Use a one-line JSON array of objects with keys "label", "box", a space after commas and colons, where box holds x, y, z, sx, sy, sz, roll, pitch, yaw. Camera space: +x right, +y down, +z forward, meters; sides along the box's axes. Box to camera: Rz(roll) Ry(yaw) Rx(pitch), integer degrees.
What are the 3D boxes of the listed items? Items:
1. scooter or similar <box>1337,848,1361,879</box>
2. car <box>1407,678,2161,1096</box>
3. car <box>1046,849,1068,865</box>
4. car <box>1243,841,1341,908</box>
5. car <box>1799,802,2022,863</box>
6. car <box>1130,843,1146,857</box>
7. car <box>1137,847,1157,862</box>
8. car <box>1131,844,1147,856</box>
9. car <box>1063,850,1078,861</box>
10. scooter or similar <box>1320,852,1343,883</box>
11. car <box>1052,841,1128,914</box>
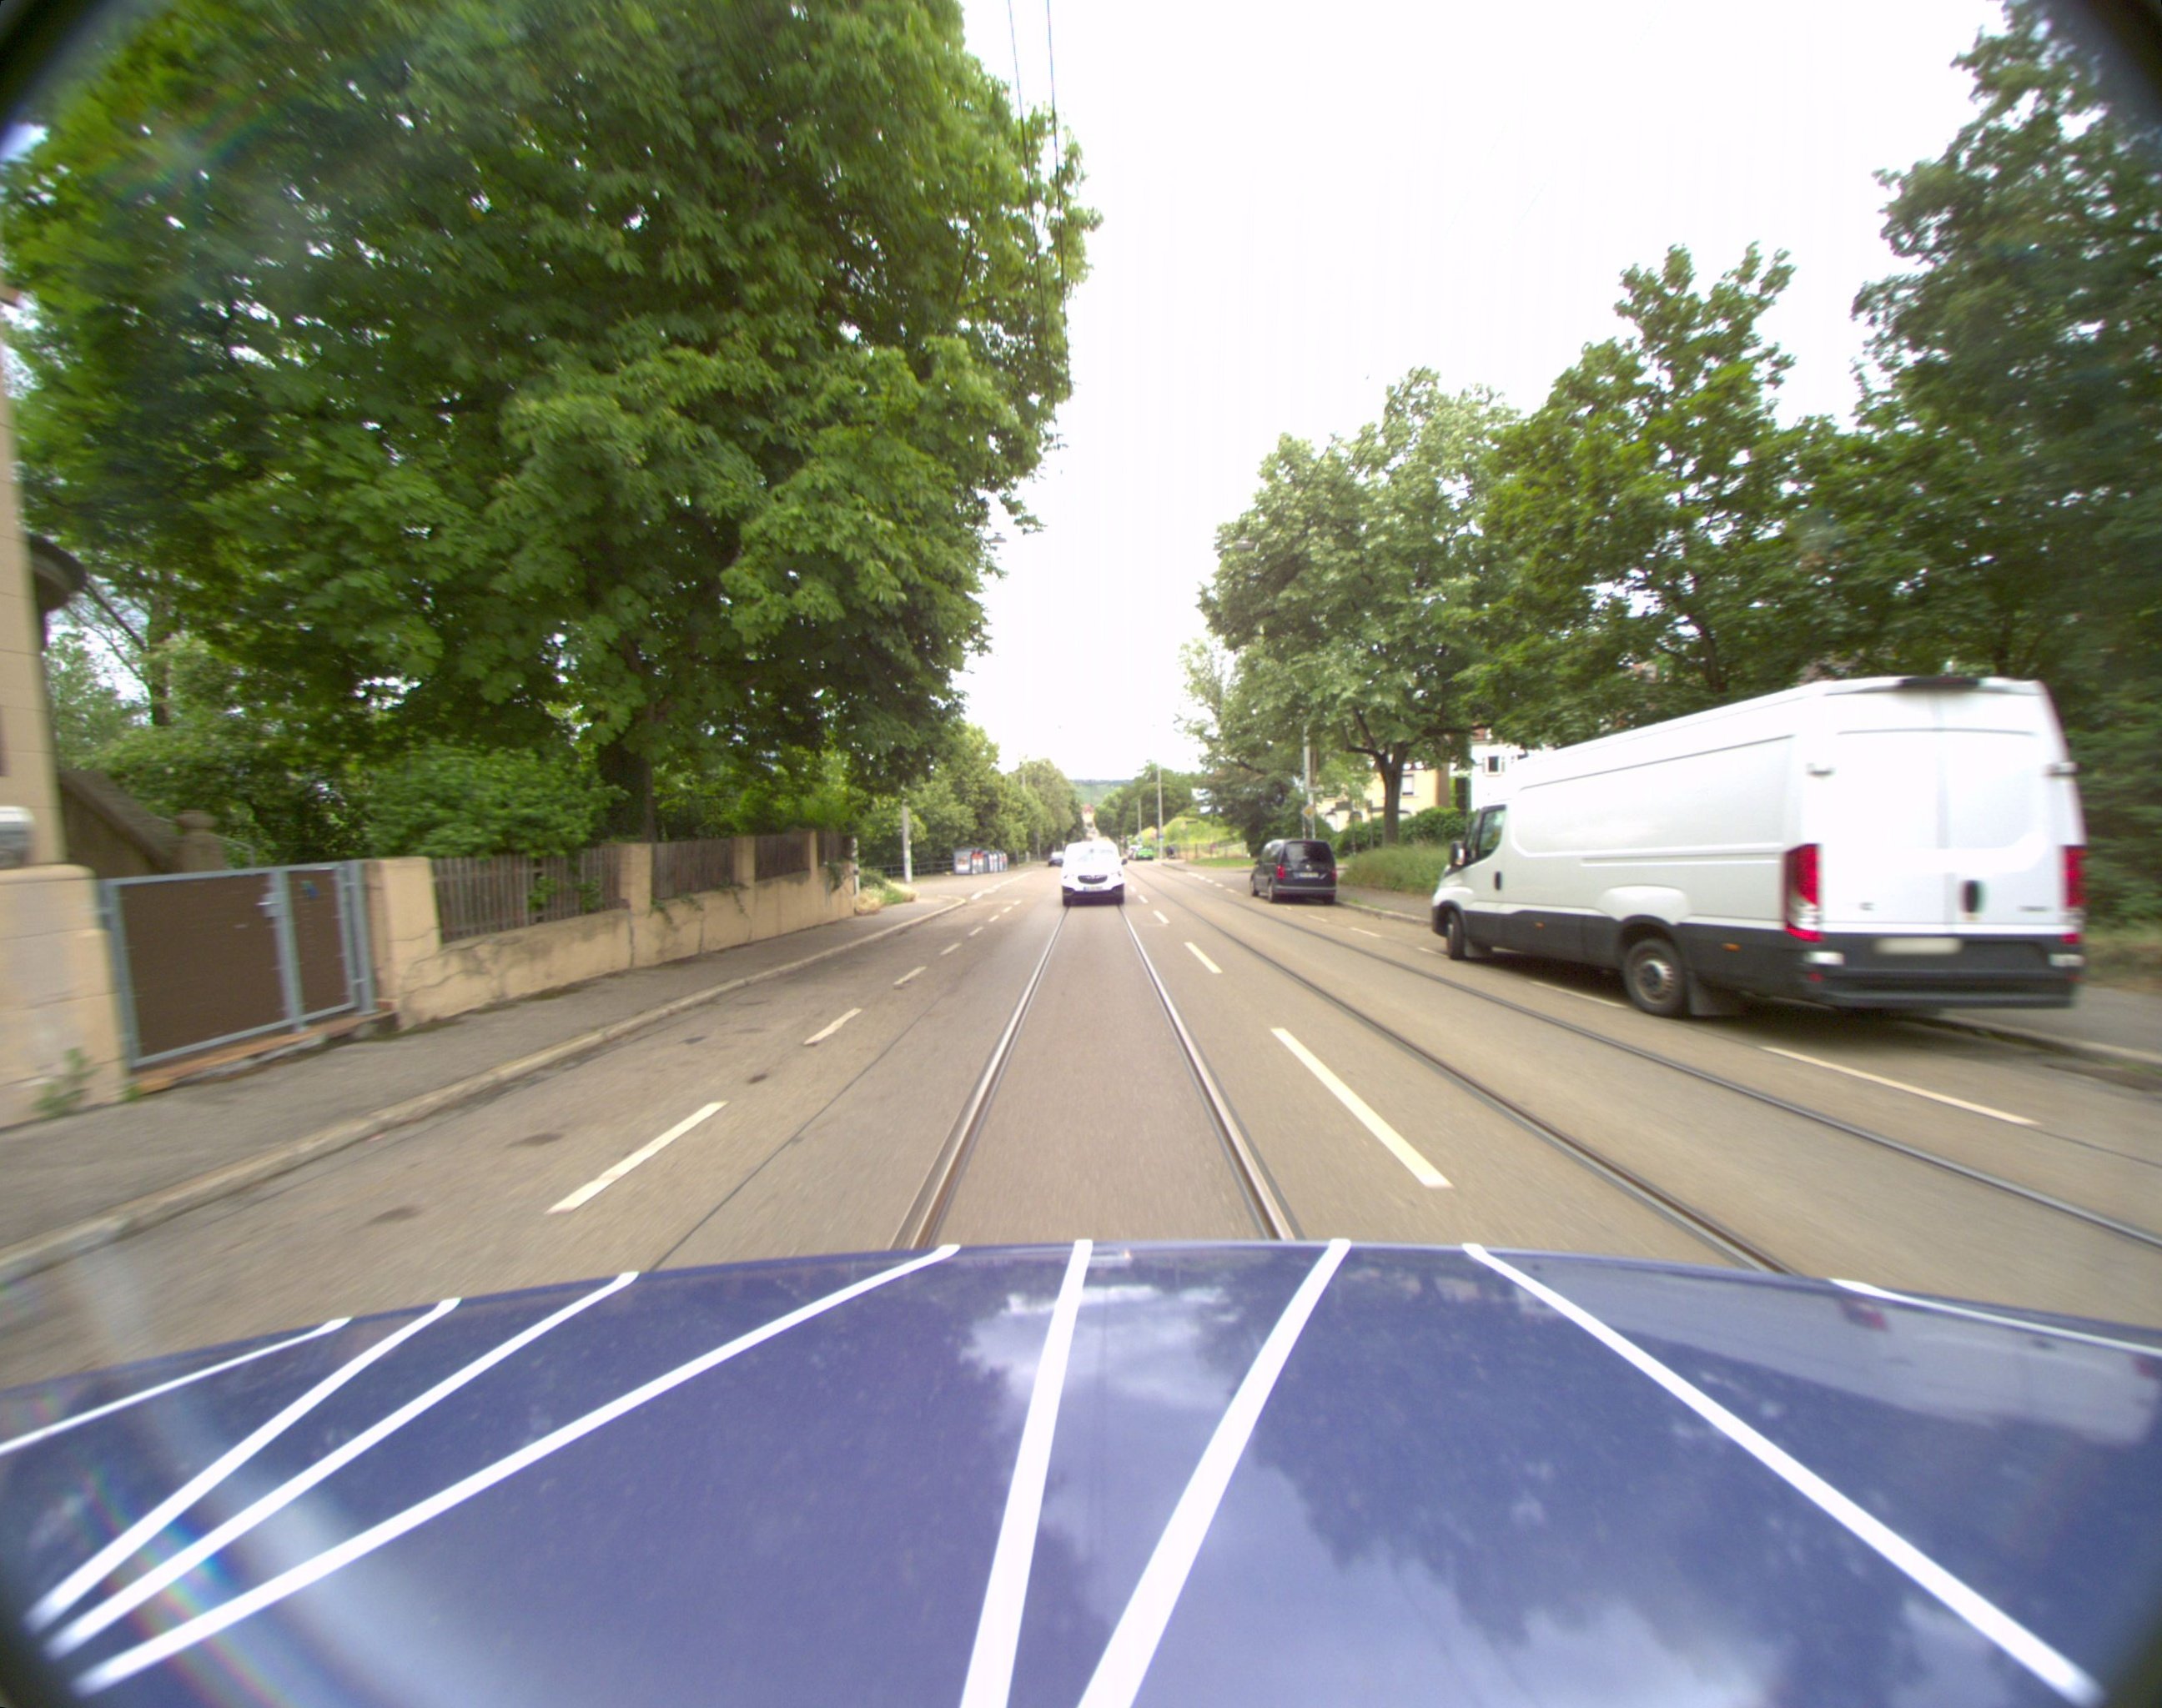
[{"label": "scooter or similar", "box": [10.288, 0.355, 29.234, 0.312, 1.139, 1.718, -3, -1, 1]}, {"label": "car", "box": [5.830, 0.205, 7.862, 2.164, 2.591, 6.218, 1, 0, -1]}, {"label": "car", "box": [-2.409, 0.249, 76.705, 1.863, 1.434, 4.388, -5, 1, 2]}, {"label": "car", "box": [6.142, 0.513, 22.648, 1.766, 1.765, 4.668, 1, 1, 2]}, {"label": "car", "box": [21.870, -0.527, 20.182, 1.655, 1.407, 3.722, -4, 1, -32]}, {"label": "car", "box": [7.704, -0.535, 102.884, 1.901, 1.935, 4.290, 0, 1, 1]}, {"label": "car", "box": [7.185, 0.093, 83.254, 1.856, 1.532, 3.948, -2, 0, 1]}, {"label": "car", "box": [7.460, -0.565, 97.704, 1.856, 1.485, 3.948, 0, 1, 1]}, {"label": "car", "box": [-1.428, 0.192, 105.646, 1.822, 1.344, 3.940, -4, 0, 3]}, {"label": "scooter or similar", "box": [9.539, 0.515, 28.964, 0.312, 1.139, 1.718, -3, -1, 1]}, {"label": "car", "box": [0.372, 0.586, 21.885, 1.759, 1.824, 4.449, -2, 1, 5]}]
